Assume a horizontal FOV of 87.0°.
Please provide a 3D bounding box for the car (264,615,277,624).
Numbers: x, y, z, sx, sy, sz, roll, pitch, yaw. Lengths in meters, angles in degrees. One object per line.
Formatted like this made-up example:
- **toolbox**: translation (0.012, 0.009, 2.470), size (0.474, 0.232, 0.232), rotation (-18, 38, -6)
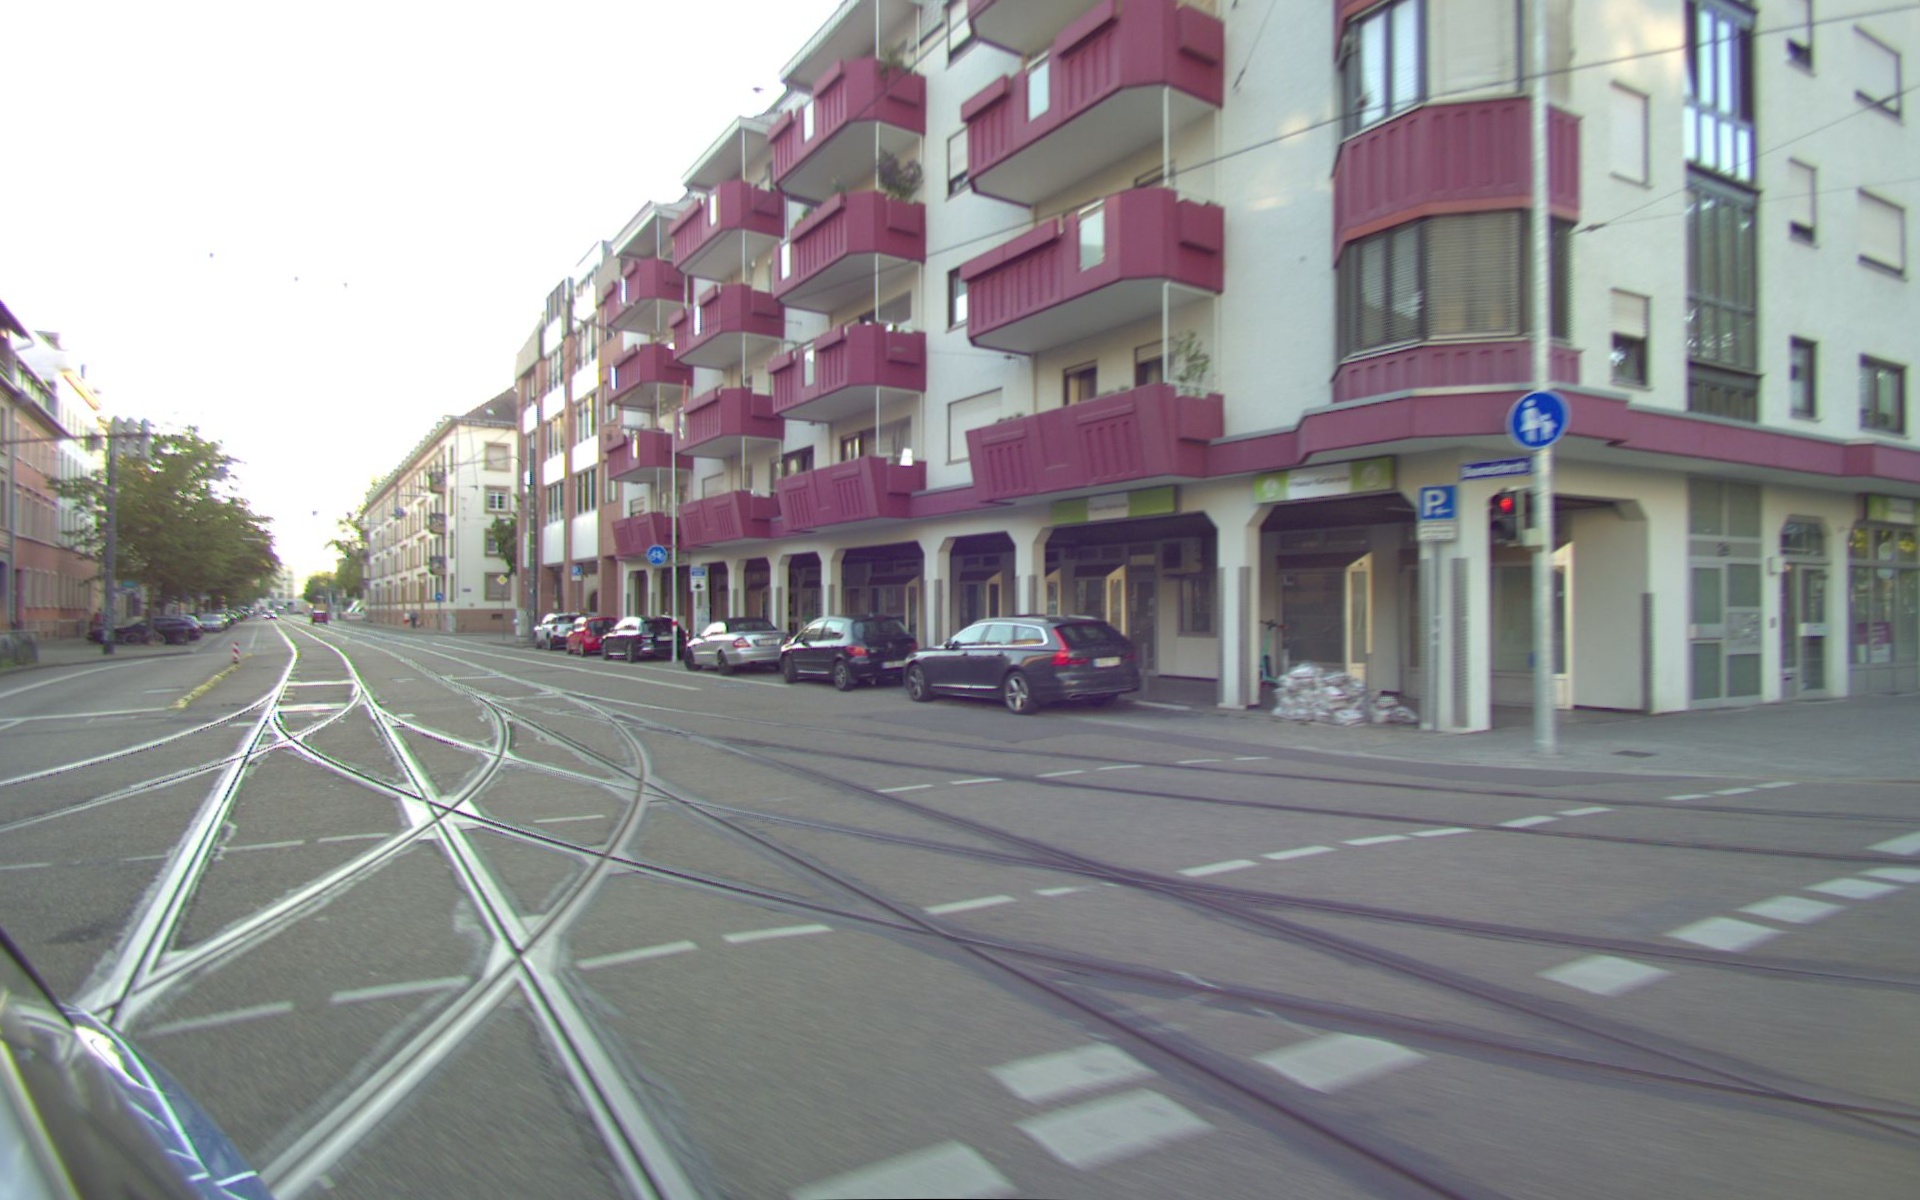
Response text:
- **car**: translation (-128.207, 3.626, 188.048), size (1.967, 1.696, 4.010), rotation (-1, -1, -35)

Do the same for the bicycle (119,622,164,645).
- **bicycle**: translation (-41.437, 1.708, 51.250), size (1.667, 1.110, 0.930), rotation (2, -2, -35)

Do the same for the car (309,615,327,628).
- **car**: translation (-78.508, 2.648, 123.794), size (1.539, 1.570, 3.763), rotation (2, -2, -37)

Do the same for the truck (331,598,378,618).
- **truck**: translation (-108.252, 1.353, 180.991), size (6.967, 3.454, 2.571), rotation (-1, -1, -38)

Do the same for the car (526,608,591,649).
- **car**: translation (-17.113, 1.179, 43.007), size (1.694, 1.567, 4.214), rotation (-2, 0, -34)

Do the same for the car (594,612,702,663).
- **car**: translation (-10.360, 1.180, 33.404), size (1.968, 1.490, 4.492), rotation (-2, 1, -37)

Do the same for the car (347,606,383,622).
- **car**: translation (-103.989, 2.478, 177.004), size (5.152, 2.617, 2.234), rotation (-1, -1, -39)

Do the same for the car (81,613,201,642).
- **car**: translation (-42.884, 1.477, 53.094), size (1.704, 1.468, 4.571), rotation (-1, -2, 31)

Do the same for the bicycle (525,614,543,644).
- **bicycle**: translation (-19.877, 1.334, 47.164), size (0.600, 1.388, 2.265), rotation (0, -1, -27)

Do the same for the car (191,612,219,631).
- **car**: translation (-59.686, 1.694, 80.072), size (1.597, 1.391, 3.785), rotation (2, -2, -35)

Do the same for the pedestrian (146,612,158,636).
- **pedestrian**: translation (-63.598, 1.867, 79.633), size (0.671, 1.830, 0.602), rotation (0, -1, -34)

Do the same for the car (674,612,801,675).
- **car**: translation (-5.854, 1.056, 26.228), size (1.668, 1.424, 4.690), rotation (-2, 1, -32)

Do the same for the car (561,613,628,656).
- **car**: translation (-13.841, 1.267, 38.222), size (1.589, 1.490, 3.489), rotation (-2, 1, -33)

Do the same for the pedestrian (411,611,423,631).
- **pedestrian**: translation (-47.559, 1.856, 88.605), size (0.785, 1.714, 0.983), rotation (0, -1, -37)

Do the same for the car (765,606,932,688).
- **car**: translation (-2.482, 0.935, 21.595), size (1.764, 1.520, 4.211), rotation (-2, 0, -34)

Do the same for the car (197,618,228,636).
- **car**: translation (-62.674, 2.243, 84.888), size (1.756, 1.391, 4.704), rotation (2, -2, -32)

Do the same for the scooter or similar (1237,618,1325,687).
- **scooter or similar**: translation (5.724, 0.922, 18.120), size (0.541, 1.174, 1.483), rotation (0, -1, -34)

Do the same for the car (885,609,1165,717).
- **car**: translation (0.841, 0.899, 16.572), size (1.827, 1.468, 5.099), rotation (0, -1, -34)

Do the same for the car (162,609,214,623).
- **car**: translation (-86.714, 1.815, 113.756), size (1.717, 1.475, 4.335), rotation (-1, -2, 37)

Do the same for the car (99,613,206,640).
- **car**: translation (-46.543, 1.522, 58.399), size (2.057, 1.528, 4.410), rotation (-1, -2, 32)

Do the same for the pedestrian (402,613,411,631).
- **pedestrian**: translation (-48.310, 1.917, 88.385), size (0.583, 1.622, 0.813), rotation (0, -1, -37)
